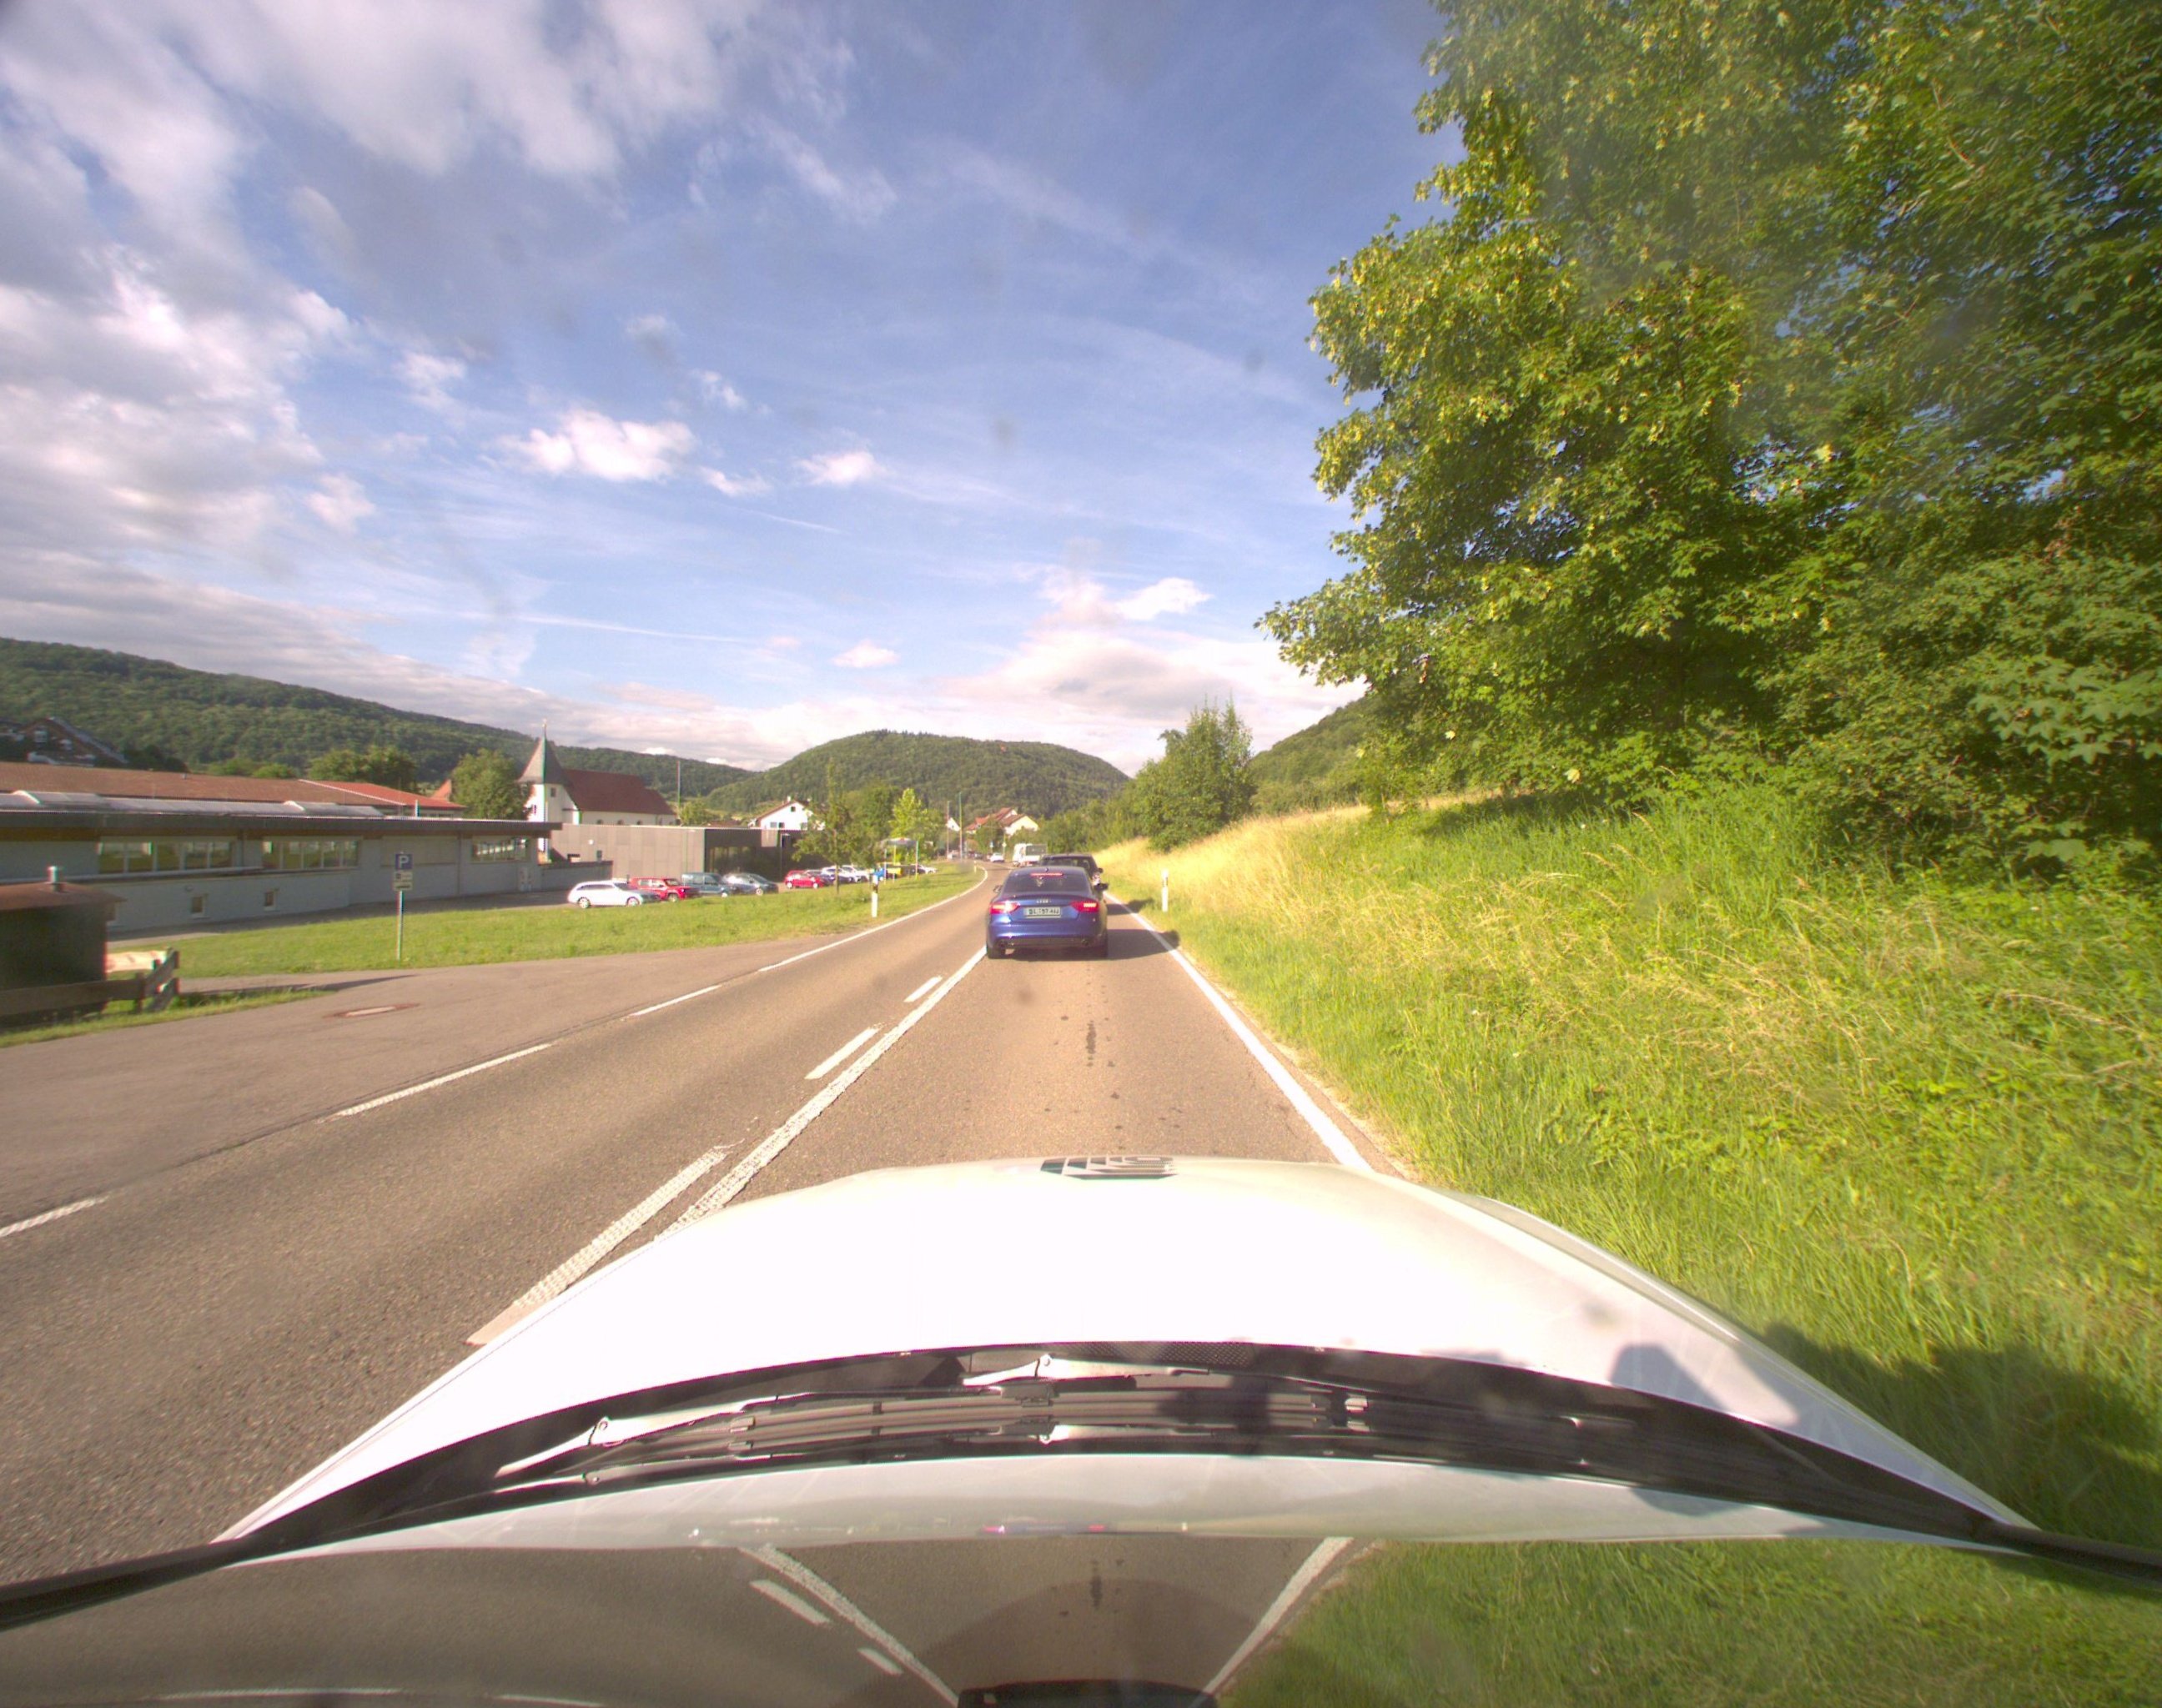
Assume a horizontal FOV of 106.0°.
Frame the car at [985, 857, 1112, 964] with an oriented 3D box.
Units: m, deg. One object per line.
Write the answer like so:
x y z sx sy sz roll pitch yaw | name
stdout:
-0.485 0.789 13.095 1.737 1.450 3.515 -1 0 -1 | car

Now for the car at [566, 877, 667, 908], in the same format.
-26.329 2.172 46.274 4.618 1.589 2.003 -2 0 5 | car

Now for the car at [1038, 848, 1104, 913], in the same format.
-0.287 0.668 22.018 1.641 1.625 3.515 0 0 -1 | car

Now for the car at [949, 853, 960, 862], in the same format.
-27.566 0.774 178.076 1.682 1.924 3.974 -2 0 -19 | car

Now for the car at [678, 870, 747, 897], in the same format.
-24.720 1.982 54.733 3.845 1.722 1.757 -1 0 3 | car

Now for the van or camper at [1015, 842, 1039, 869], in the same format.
-5.850 0.170 87.922 2.278 2.714 5.754 -2 0 -6 | van or camper

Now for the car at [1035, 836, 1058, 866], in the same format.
-2.505 -0.202 58.690 1.564 2.013 3.995 -2 0 -3 | car

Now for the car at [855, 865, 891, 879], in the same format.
-22.184 1.903 87.042 3.360 1.373 1.659 -2 0 -2 | car

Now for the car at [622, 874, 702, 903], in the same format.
-25.220 2.086 49.111 3.901 1.579 1.758 -2 0 5 | car

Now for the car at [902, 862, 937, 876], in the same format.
-20.609 1.871 104.245 4.015 1.660 1.658 -2 0 6 | car

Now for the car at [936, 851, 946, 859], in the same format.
-33.423 0.284 194.861 1.682 1.924 3.974 -2 0 -19 | car

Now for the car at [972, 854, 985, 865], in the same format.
-18.775 1.081 149.243 1.663 1.924 3.978 -2 0 -16 | car

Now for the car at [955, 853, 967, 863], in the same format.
-24.854 0.784 168.839 1.682 1.924 3.974 -2 0 -19 | car

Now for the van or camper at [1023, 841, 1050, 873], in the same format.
-3.817 0.239 69.140 2.048 2.505 5.802 -2 0 -4 | van or camper

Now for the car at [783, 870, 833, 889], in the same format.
-23.277 2.150 69.484 3.606 1.444 1.651 -2 0 6 | car

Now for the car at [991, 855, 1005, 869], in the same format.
-12.485 1.217 121.943 1.660 1.924 3.984 -2 0 -11 | car

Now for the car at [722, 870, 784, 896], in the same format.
-23.880 2.109 59.346 3.800 1.722 1.734 -2 0 5 | car

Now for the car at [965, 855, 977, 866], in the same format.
-21.480 1.287 158.495 1.681 1.924 3.976 -2 0 -18 | car

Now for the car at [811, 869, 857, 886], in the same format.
-22.519 2.121 74.373 3.606 1.405 1.599 -2 0 6 | car

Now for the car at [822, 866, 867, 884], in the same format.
-22.554 2.027 77.701 3.648 1.493 1.600 -2 2 6 | car

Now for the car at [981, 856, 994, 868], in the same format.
-15.301 1.357 133.292 1.661 1.924 3.982 -2 0 -13 | car

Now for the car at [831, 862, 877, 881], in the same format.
-22.611 1.779 81.168 4.056 1.672 1.600 -2 2 6 | car

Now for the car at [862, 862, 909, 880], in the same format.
-21.491 1.833 89.594 4.530 1.815 1.844 -2 0 6 | car
